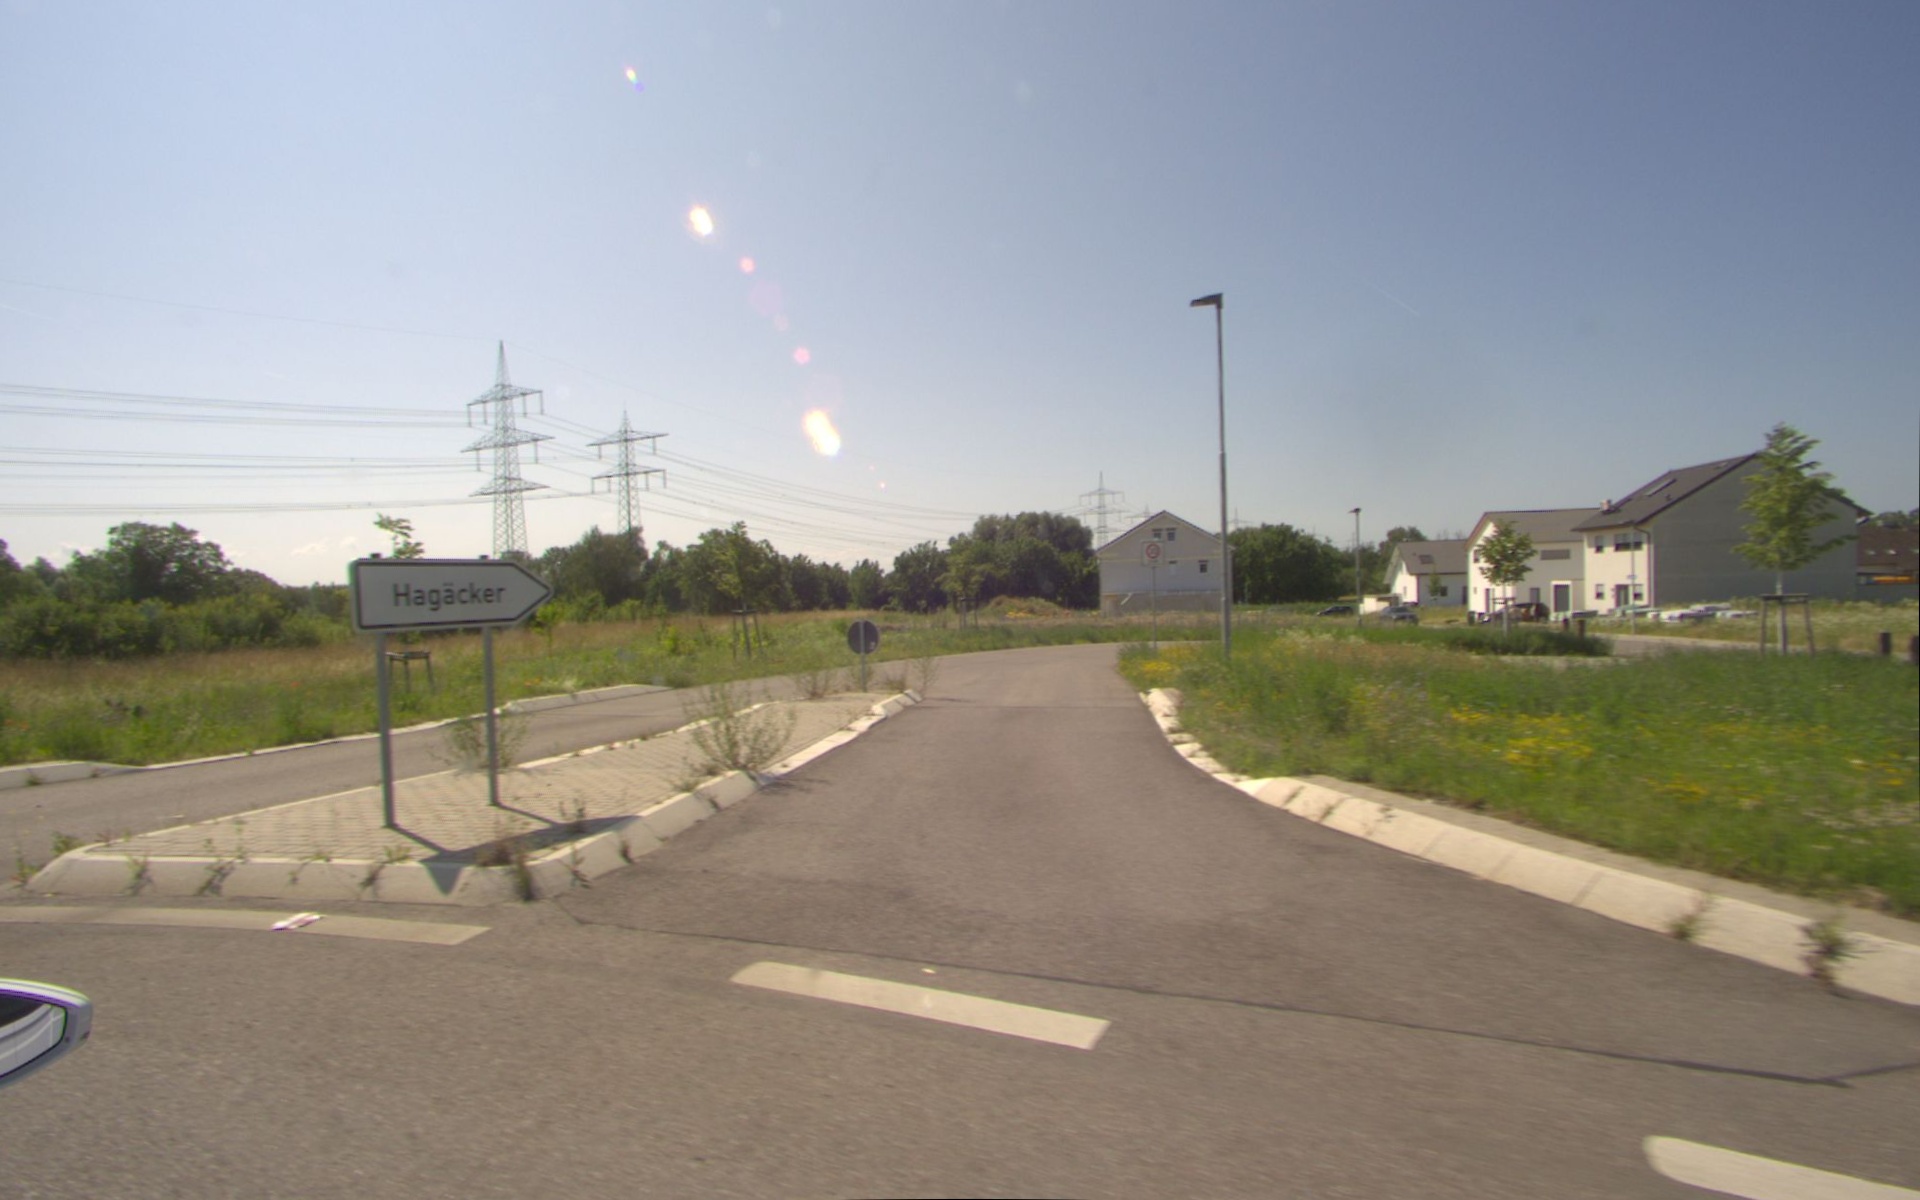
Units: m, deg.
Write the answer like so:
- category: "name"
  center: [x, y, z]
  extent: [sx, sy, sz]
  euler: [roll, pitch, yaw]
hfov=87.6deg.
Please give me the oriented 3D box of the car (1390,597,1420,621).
- category: "car"
  center: [32.609, 0.659, 73.395]
  extent: [1.652, 1.683, 3.481]
  euler: [-1, -1, 19]

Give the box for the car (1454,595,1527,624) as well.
- category: "car"
  center: [35.881, 0.641, 67.798]
  extent: [3.924, 1.817, 1.999]
  euler: [-2, 0, 11]
